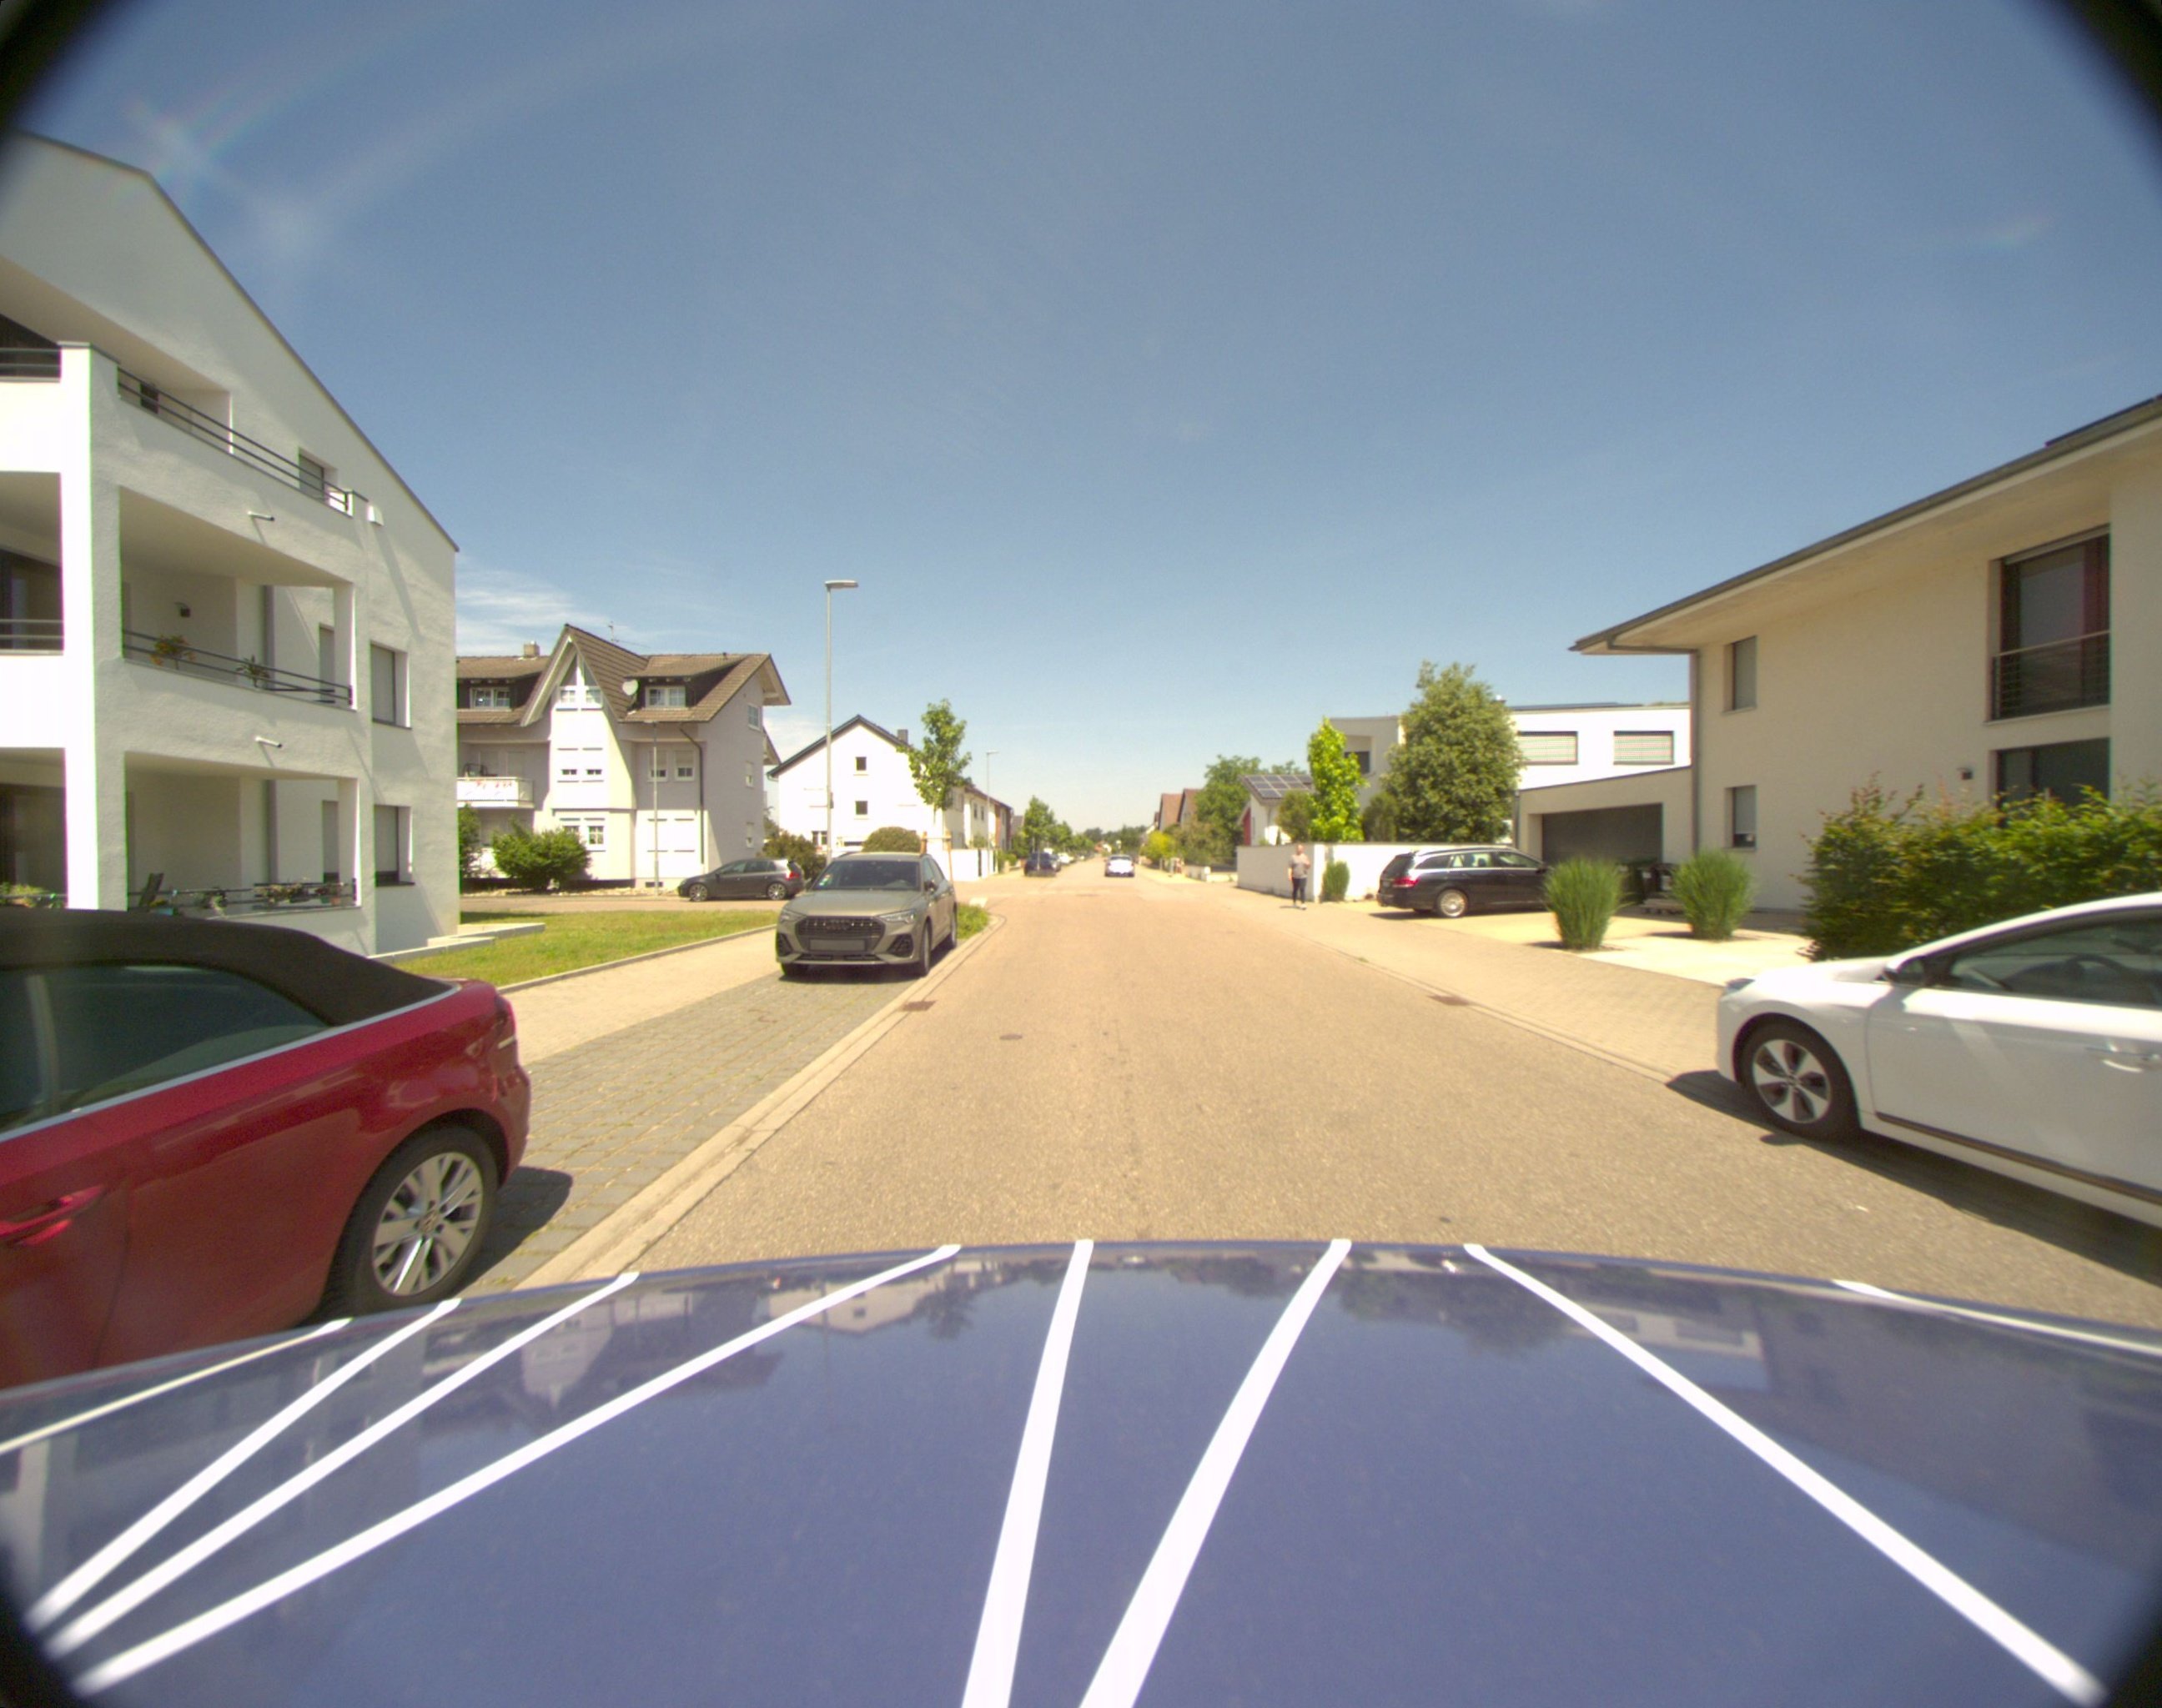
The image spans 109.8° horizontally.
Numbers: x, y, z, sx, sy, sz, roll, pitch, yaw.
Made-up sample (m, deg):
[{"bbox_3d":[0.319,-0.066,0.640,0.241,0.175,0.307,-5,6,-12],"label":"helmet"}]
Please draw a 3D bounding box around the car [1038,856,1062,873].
[{"bbox_3d":[-2.583,0.850,64.229,1.819,1.411,4.093,0,0,1],"label":"car"}]

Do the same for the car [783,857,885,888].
[{"bbox_3d":[-11.414,0.851,35.326,4.213,1.366,1.664,0,0,-3],"label":"car"}]

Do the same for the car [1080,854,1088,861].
[{"bbox_3d":[0.676,0.763,165.649,1.597,1.630,3.804,1,0,5],"label":"car"}]

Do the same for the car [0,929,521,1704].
[{"bbox_3d":[-3.028,1.012,1.009,1.684,1.433,4.026,0,0,-2],"label":"car"}]

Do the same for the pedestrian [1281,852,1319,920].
[{"bbox_3d":[5.800,0.830,20.201,0.716,1.737,0.961,-1,0,1],"label":"pedestrian"}]

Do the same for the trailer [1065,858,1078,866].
[{"bbox_3d":[-1.359,1.190,111.833,1.792,1.052,2.899,0,0,2],"label":"trailer"}]

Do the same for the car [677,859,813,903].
[{"bbox_3d":[-11.659,0.912,26.582,4.004,1.459,1.755,0,0,-7],"label":"car"}]

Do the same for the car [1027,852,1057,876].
[{"bbox_3d":[-2.786,0.740,54.655,1.819,1.646,4.565,0,-1,1],"label":"car"}]

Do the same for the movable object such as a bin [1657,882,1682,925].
[{"bbox_3d":[12.274,1.035,15.846,0.184,0.878,0.394,0,0,-6],"label":"movable object such as a bin"}]

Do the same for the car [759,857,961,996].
[{"bbox_3d":[-2.910,0.858,10.981,1.778,1.586,4.278,1,0,-2],"label":"car"}]

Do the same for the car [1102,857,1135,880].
[{"bbox_3d":[2.479,0.952,51.403,1.858,1.469,4.699,2,0,-1],"label":"car"}]

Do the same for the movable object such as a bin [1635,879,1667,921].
[{"bbox_3d":[12.233,0.978,16.304,0.311,0.878,0.476,0,0,-6],"label":"movable object such as a bin"}]

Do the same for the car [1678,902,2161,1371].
[{"bbox_3d":[4.694,1.053,2.610,1.856,1.479,4.385,-1,0,1],"label":"car"}]

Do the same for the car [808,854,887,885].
[{"bbox_3d":[-11.539,0.746,37.729,3.454,1.486,1.664,0,0,-3],"label":"car"}]

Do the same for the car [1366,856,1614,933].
[{"bbox_3d":[8.900,0.860,16.840,4.438,1.465,1.851,-2,0,3],"label":"car"}]

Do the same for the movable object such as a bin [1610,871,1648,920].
[{"bbox_3d":[12.223,0.909,16.964,0.385,1.067,0.589,0,0,-6],"label":"movable object such as a bin"}]

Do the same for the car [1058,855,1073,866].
[{"bbox_3d":[-2.012,0.818,97.113,1.819,1.411,3.868,0,0,0],"label":"car"}]

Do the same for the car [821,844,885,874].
[{"bbox_3d":[-13.832,0.305,46.260,3.395,1.801,1.771,0,0,-1],"label":"car"}]
